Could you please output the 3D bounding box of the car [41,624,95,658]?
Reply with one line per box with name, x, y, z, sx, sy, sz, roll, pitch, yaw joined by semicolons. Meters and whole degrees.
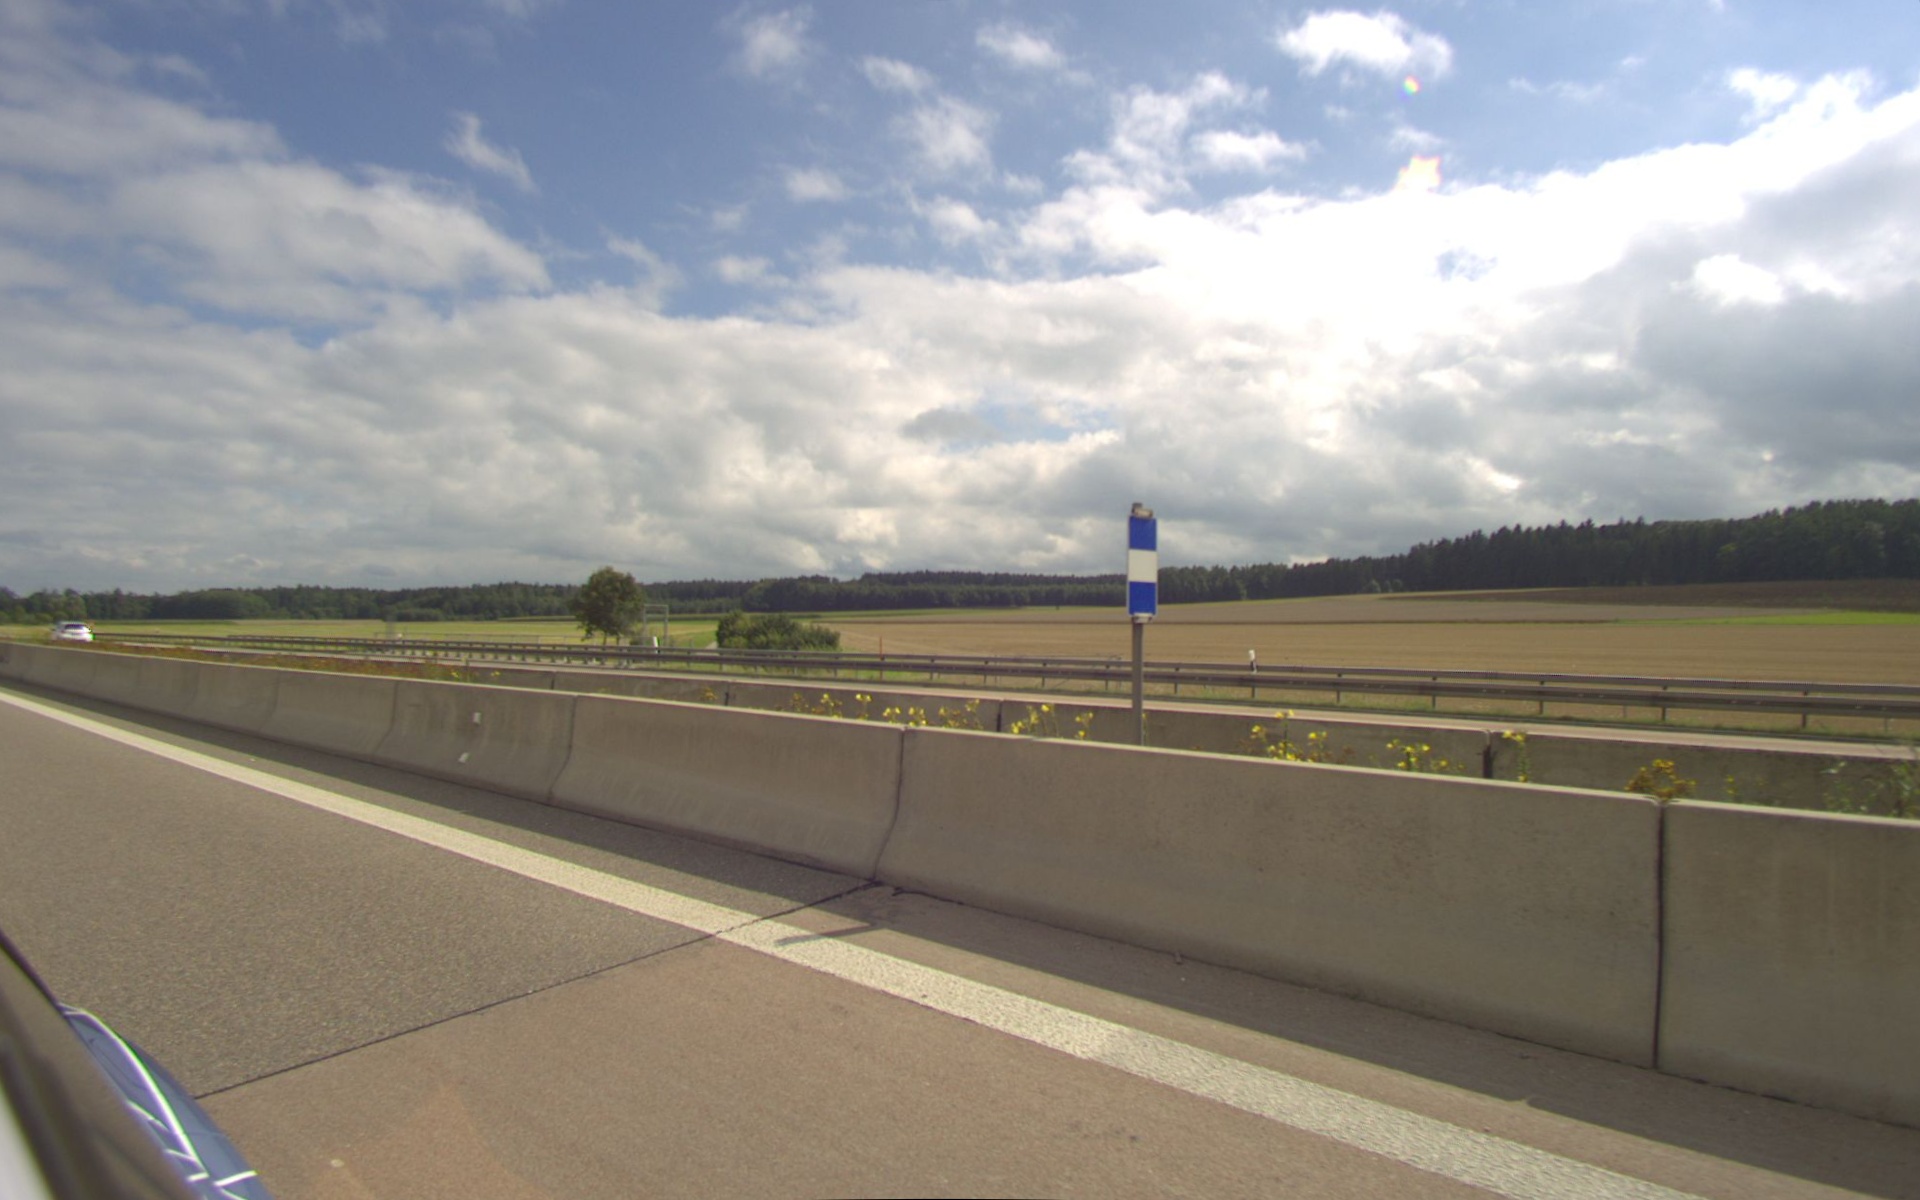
car;-57.708;2.637;65.457;4.708;2.086;1.973;-1;-3;41
